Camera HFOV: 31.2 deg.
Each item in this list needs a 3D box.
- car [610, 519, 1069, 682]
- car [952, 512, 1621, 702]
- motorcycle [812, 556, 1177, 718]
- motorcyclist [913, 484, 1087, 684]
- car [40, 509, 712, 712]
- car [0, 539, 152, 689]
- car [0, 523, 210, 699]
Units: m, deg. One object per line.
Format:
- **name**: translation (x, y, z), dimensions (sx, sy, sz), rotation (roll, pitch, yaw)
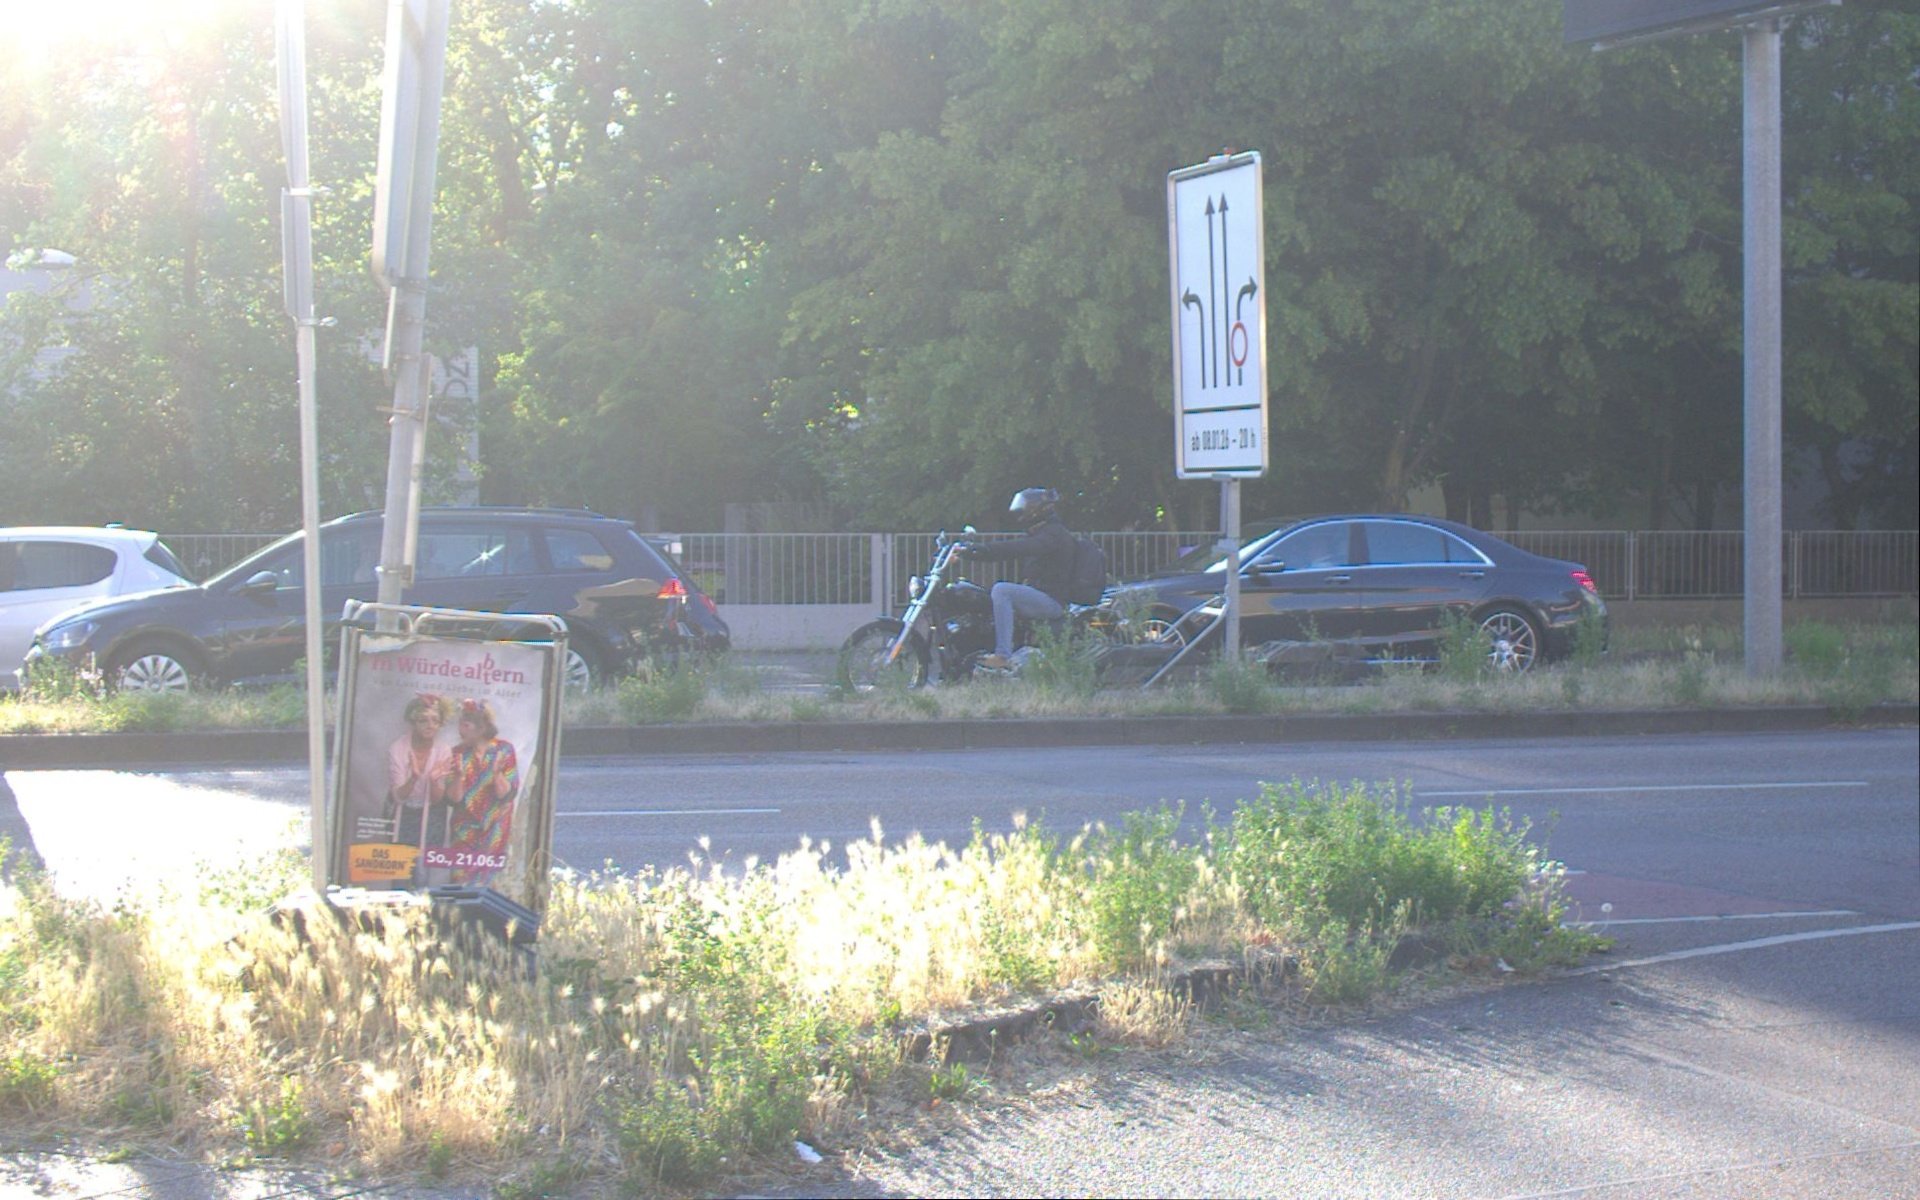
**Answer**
- **car**: translation (-1.158, -0.035, 32.736), dimensions (3.986, 1.459, 1.860), rotation (-1, 2, -20)
- **car**: translation (2.758, 0.014, 29.059), dimensions (5.273, 1.490, 2.001), rotation (-1, 1, -20)
- **motorcycle**: translation (0.239, 0.248, 24.542), dimensions (2.461, 1.104, 0.862), rotation (0, 1, -14)
- **motorcyclist**: translation (0.277, -0.125, 24.541), dimensions (1.058, 1.393, 0.854), rotation (0, 1, -13)
- **car**: translation (-3.998, 0.038, 23.489), dimensions (4.361, 1.292, 1.725), rotation (0, 1, -13)
- **car**: translation (-9.184, 0.115, 30.432), dimensions (3.880, 1.292, 1.725), rotation (-1, 1, -16)
- **car**: translation (-7.816, 0.073, 26.478), dimensions (3.880, 1.315, 1.725), rotation (-1, 1, -16)
